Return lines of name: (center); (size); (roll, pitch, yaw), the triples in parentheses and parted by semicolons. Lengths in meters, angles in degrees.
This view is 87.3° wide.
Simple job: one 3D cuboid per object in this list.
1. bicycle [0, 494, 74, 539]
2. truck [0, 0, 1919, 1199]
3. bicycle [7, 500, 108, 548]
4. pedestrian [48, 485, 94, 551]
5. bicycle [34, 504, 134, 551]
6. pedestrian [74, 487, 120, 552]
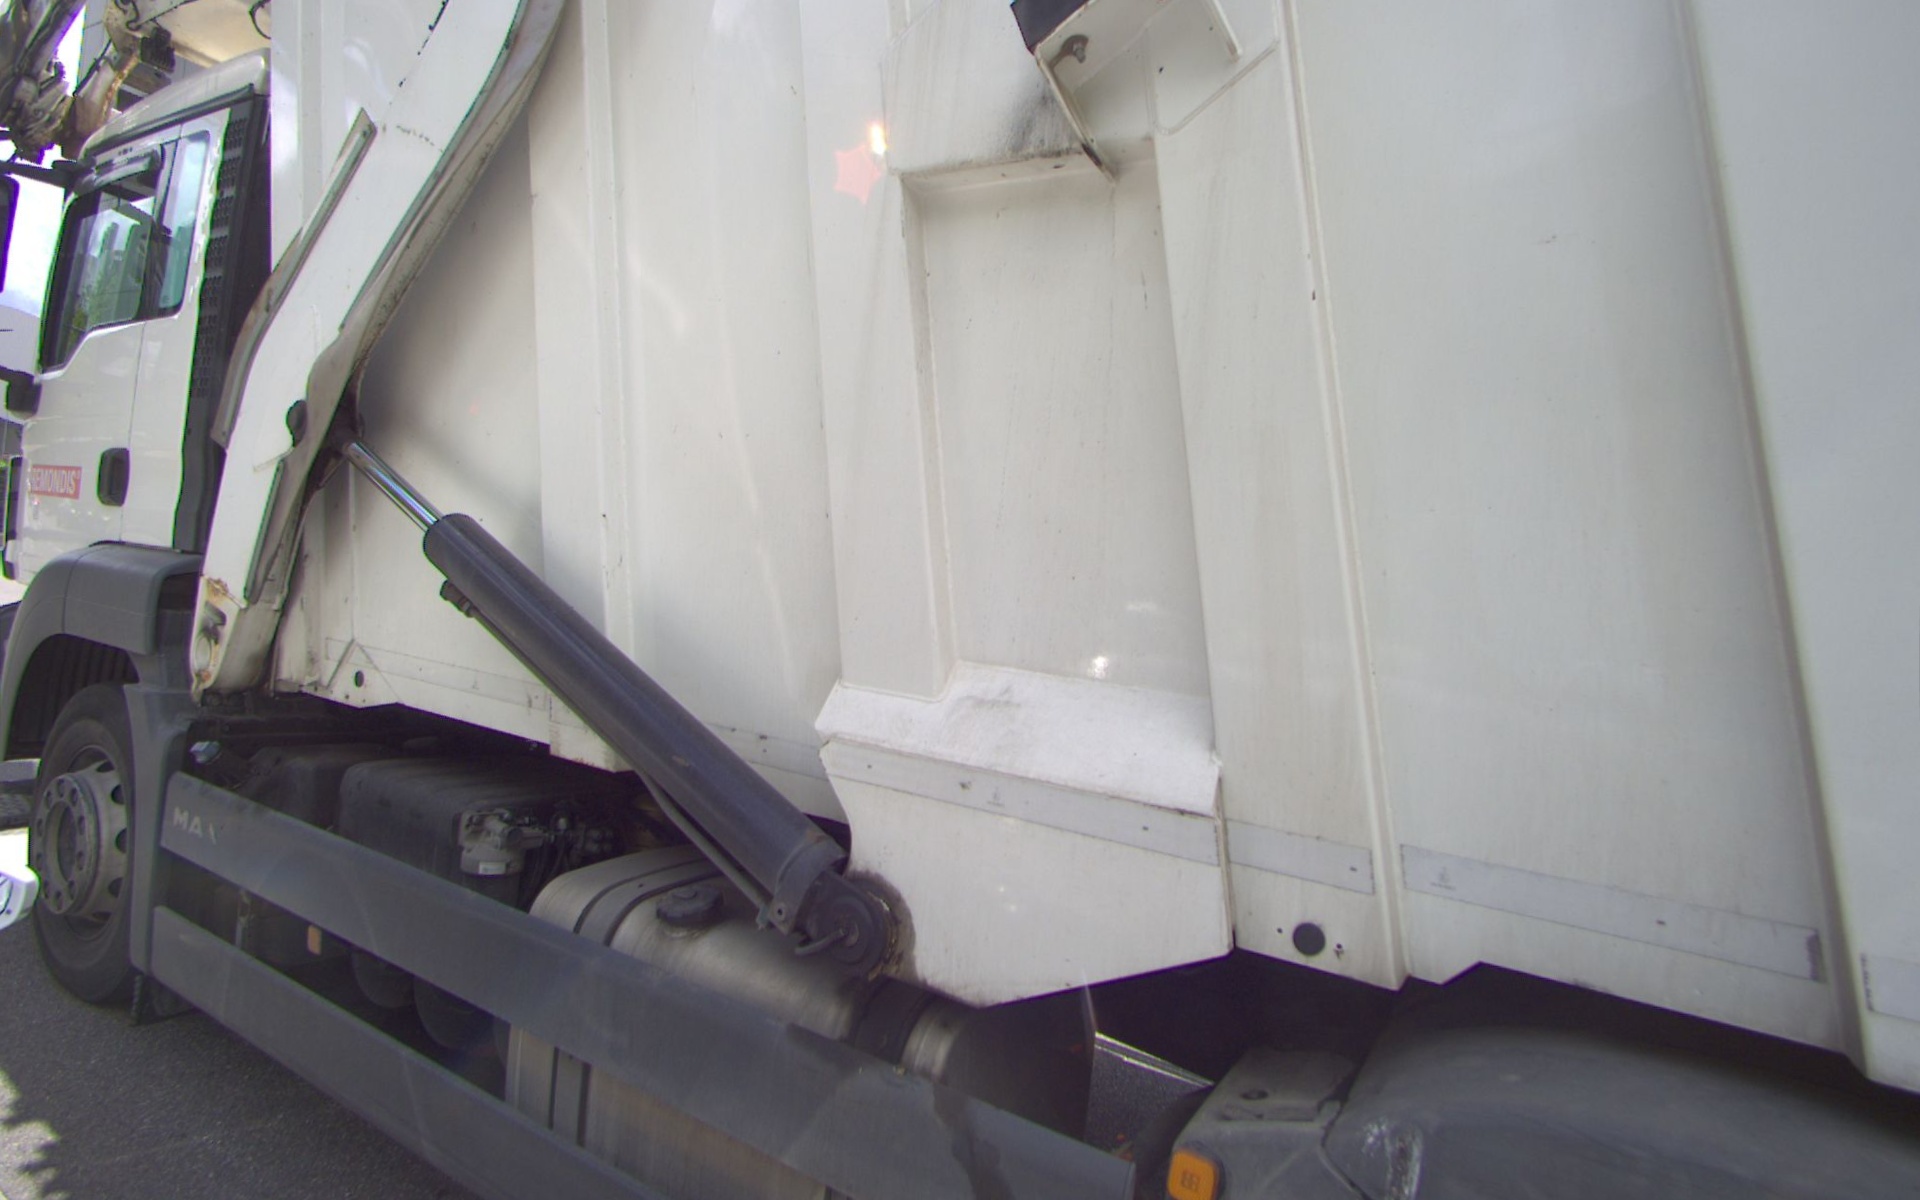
bicycle: (-29.297, -2.651, 31.498); (2.197, 1.099, 0.474); (8, -1, -23)
truck: (1.097, -0.407, 2.191); (10.003, 3.958, 2.494); (6, -1, 31)
bicycle: (-27.962, -2.345, 31.214); (2.197, 1.099, 0.474); (8, -1, -23)
pedestrian: (-25.704, -2.361, 29.088); (0.700, 1.818, 0.641); (5, 3, -12)
bicycle: (-26.983, -2.223, 31.027); (2.166, 1.099, 0.474); (8, -1, -23)
pedestrian: (-25.680, -2.385, 29.951); (0.700, 1.818, 0.692); (6, 3, -11)
